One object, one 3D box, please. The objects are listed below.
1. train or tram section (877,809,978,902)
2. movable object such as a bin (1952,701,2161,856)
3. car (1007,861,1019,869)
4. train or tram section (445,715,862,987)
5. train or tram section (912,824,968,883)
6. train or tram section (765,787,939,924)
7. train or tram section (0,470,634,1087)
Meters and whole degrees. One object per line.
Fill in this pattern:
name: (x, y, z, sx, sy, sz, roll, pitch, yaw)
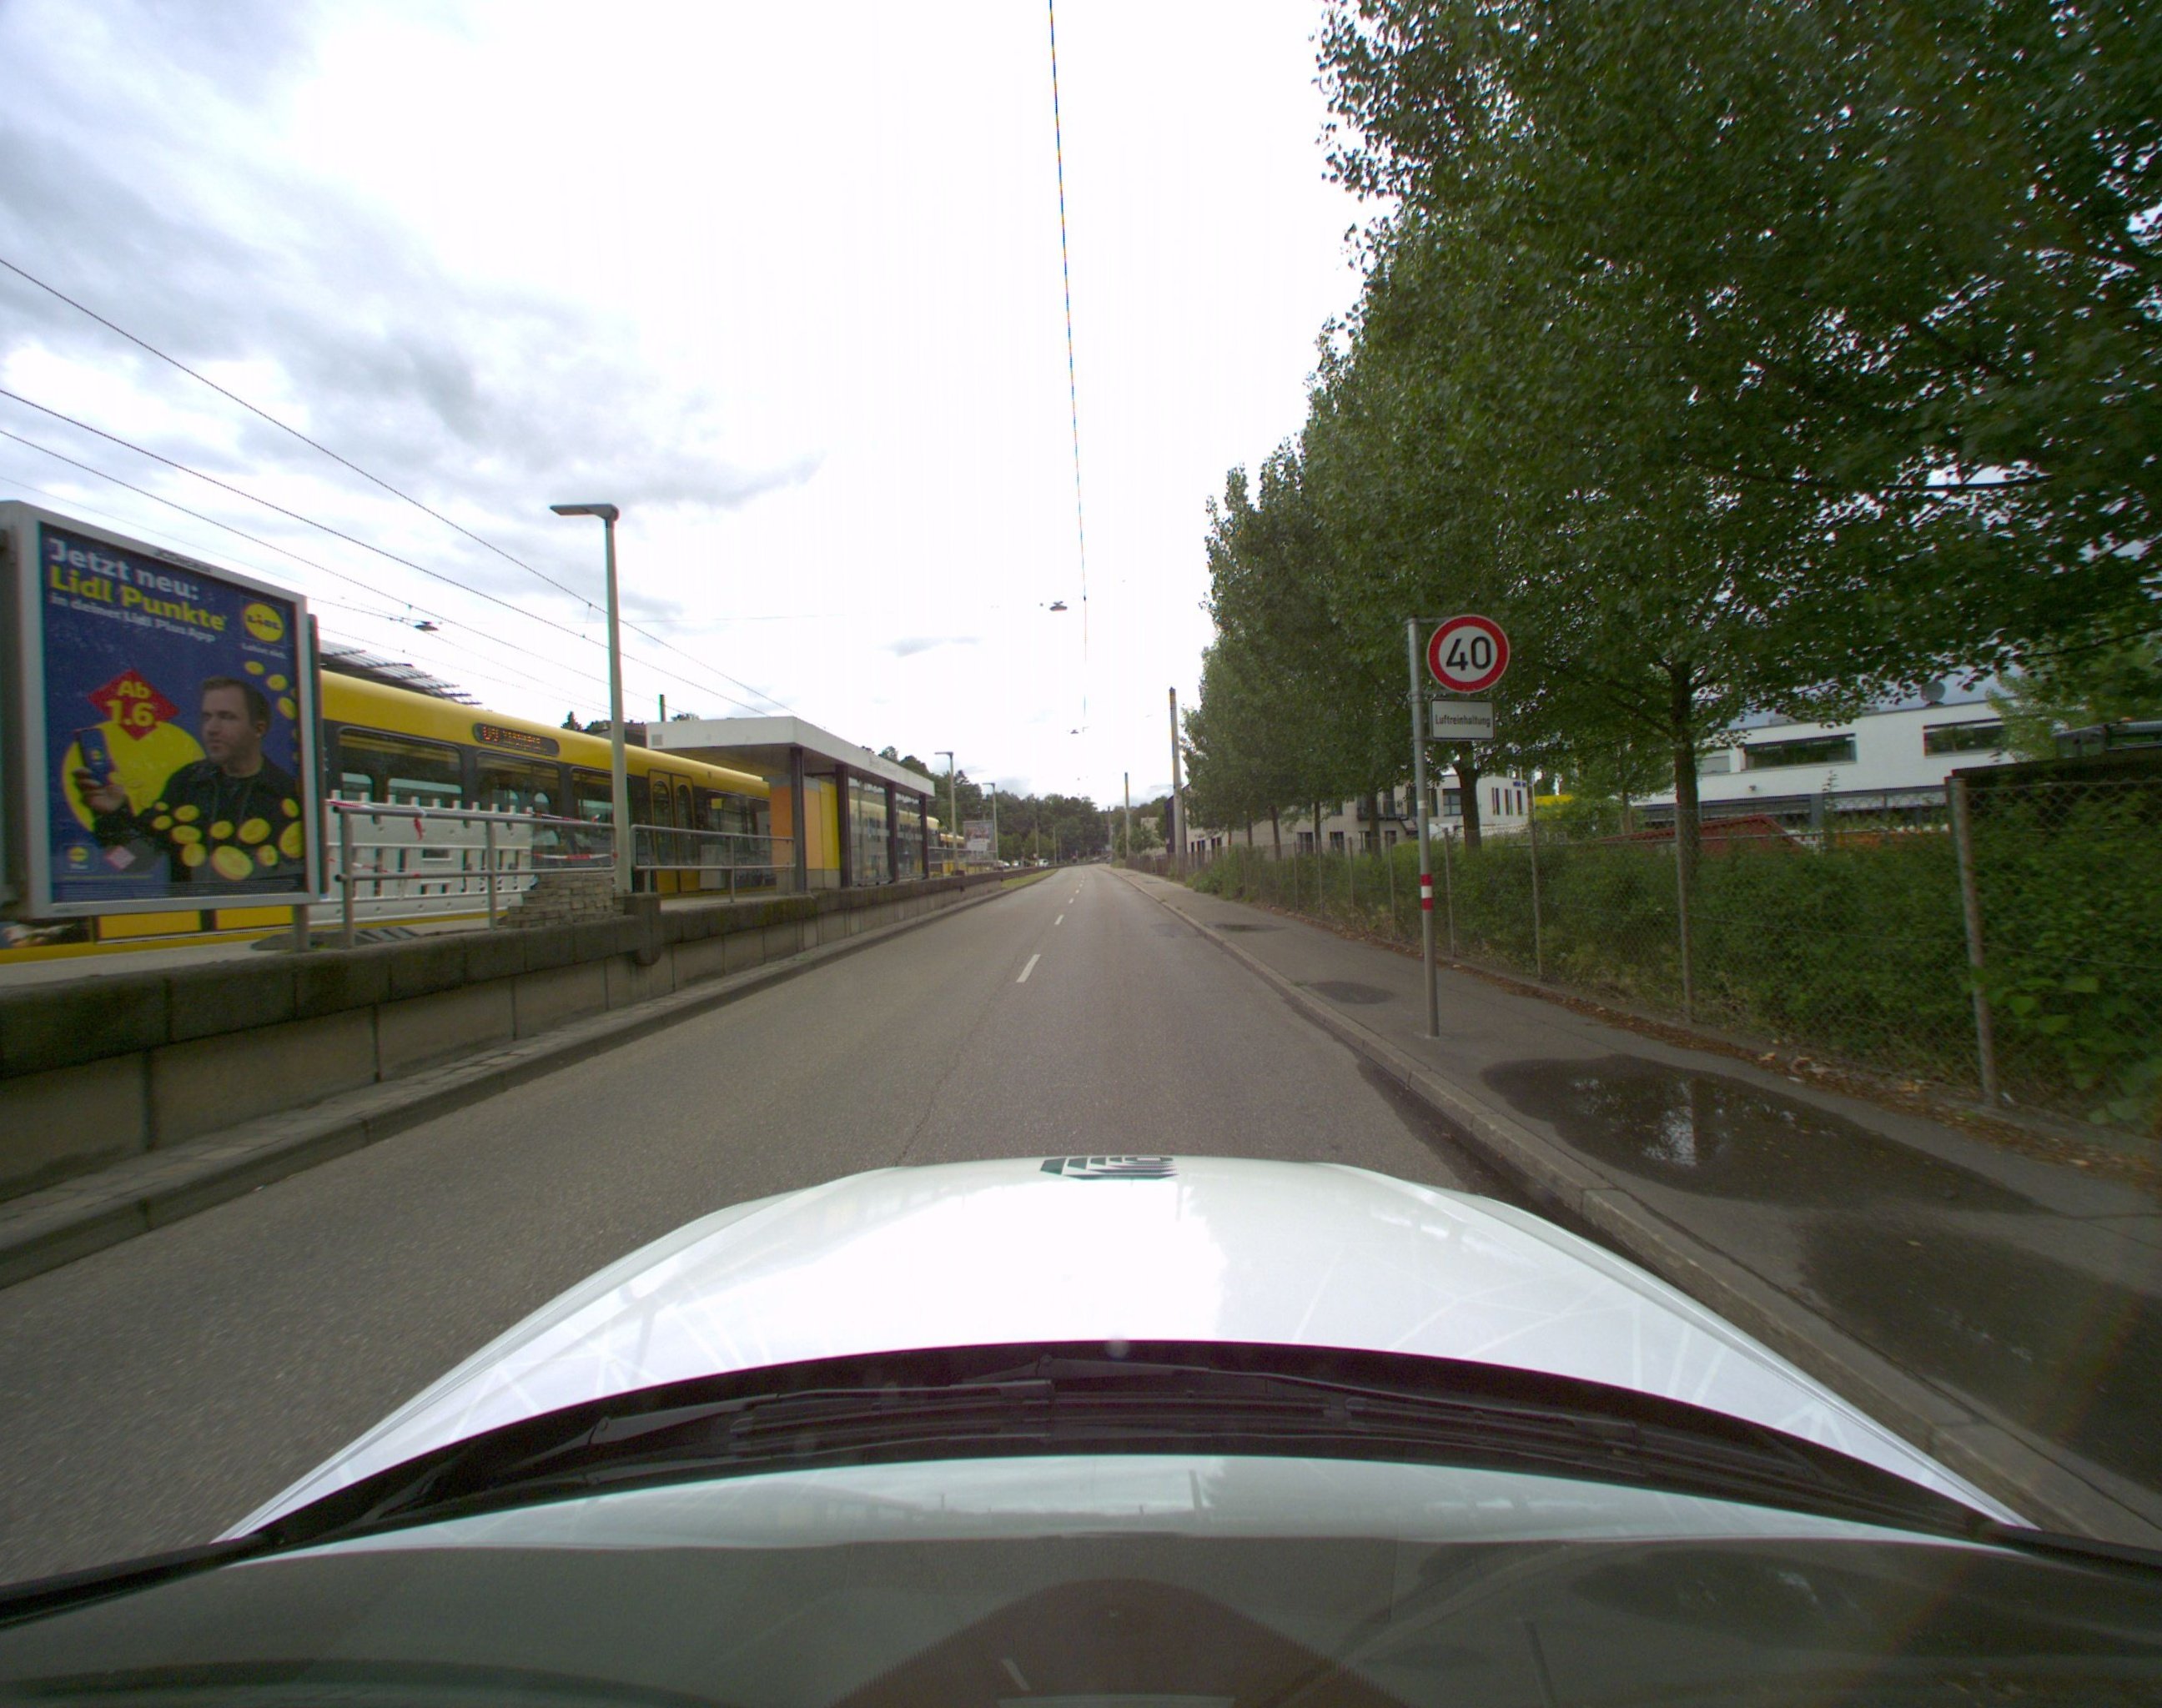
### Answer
train or tram section: (-7.629, 0.055, 42.165, 2.961, 4.065, 10.197, -3, 0, 1)
movable object such as a bin: (16.945, -1.139, 13.385, 1.975, 2.014, 4.318, -5, -5, 25)
car: (-17.124, 2.757, 205.210, 1.816, 1.706, 4.154, -4, -4, 11)
train or tram section: (-8.060, -0.062, 18.252, 2.731, 3.966, 11.913, -3, 0, 1)
train or tram section: (-9.895, 0.061, 58.149, 1.986, 3.796, 9.180, -3, -1, 1)
train or tram section: (-7.852, 0.034, 30.199, 2.731, 3.966, 11.913, -3, 0, 1)
train or tram section: (-8.258, -0.442, 6.284, 2.731, 3.966, 11.913, -3, 0, 1)
